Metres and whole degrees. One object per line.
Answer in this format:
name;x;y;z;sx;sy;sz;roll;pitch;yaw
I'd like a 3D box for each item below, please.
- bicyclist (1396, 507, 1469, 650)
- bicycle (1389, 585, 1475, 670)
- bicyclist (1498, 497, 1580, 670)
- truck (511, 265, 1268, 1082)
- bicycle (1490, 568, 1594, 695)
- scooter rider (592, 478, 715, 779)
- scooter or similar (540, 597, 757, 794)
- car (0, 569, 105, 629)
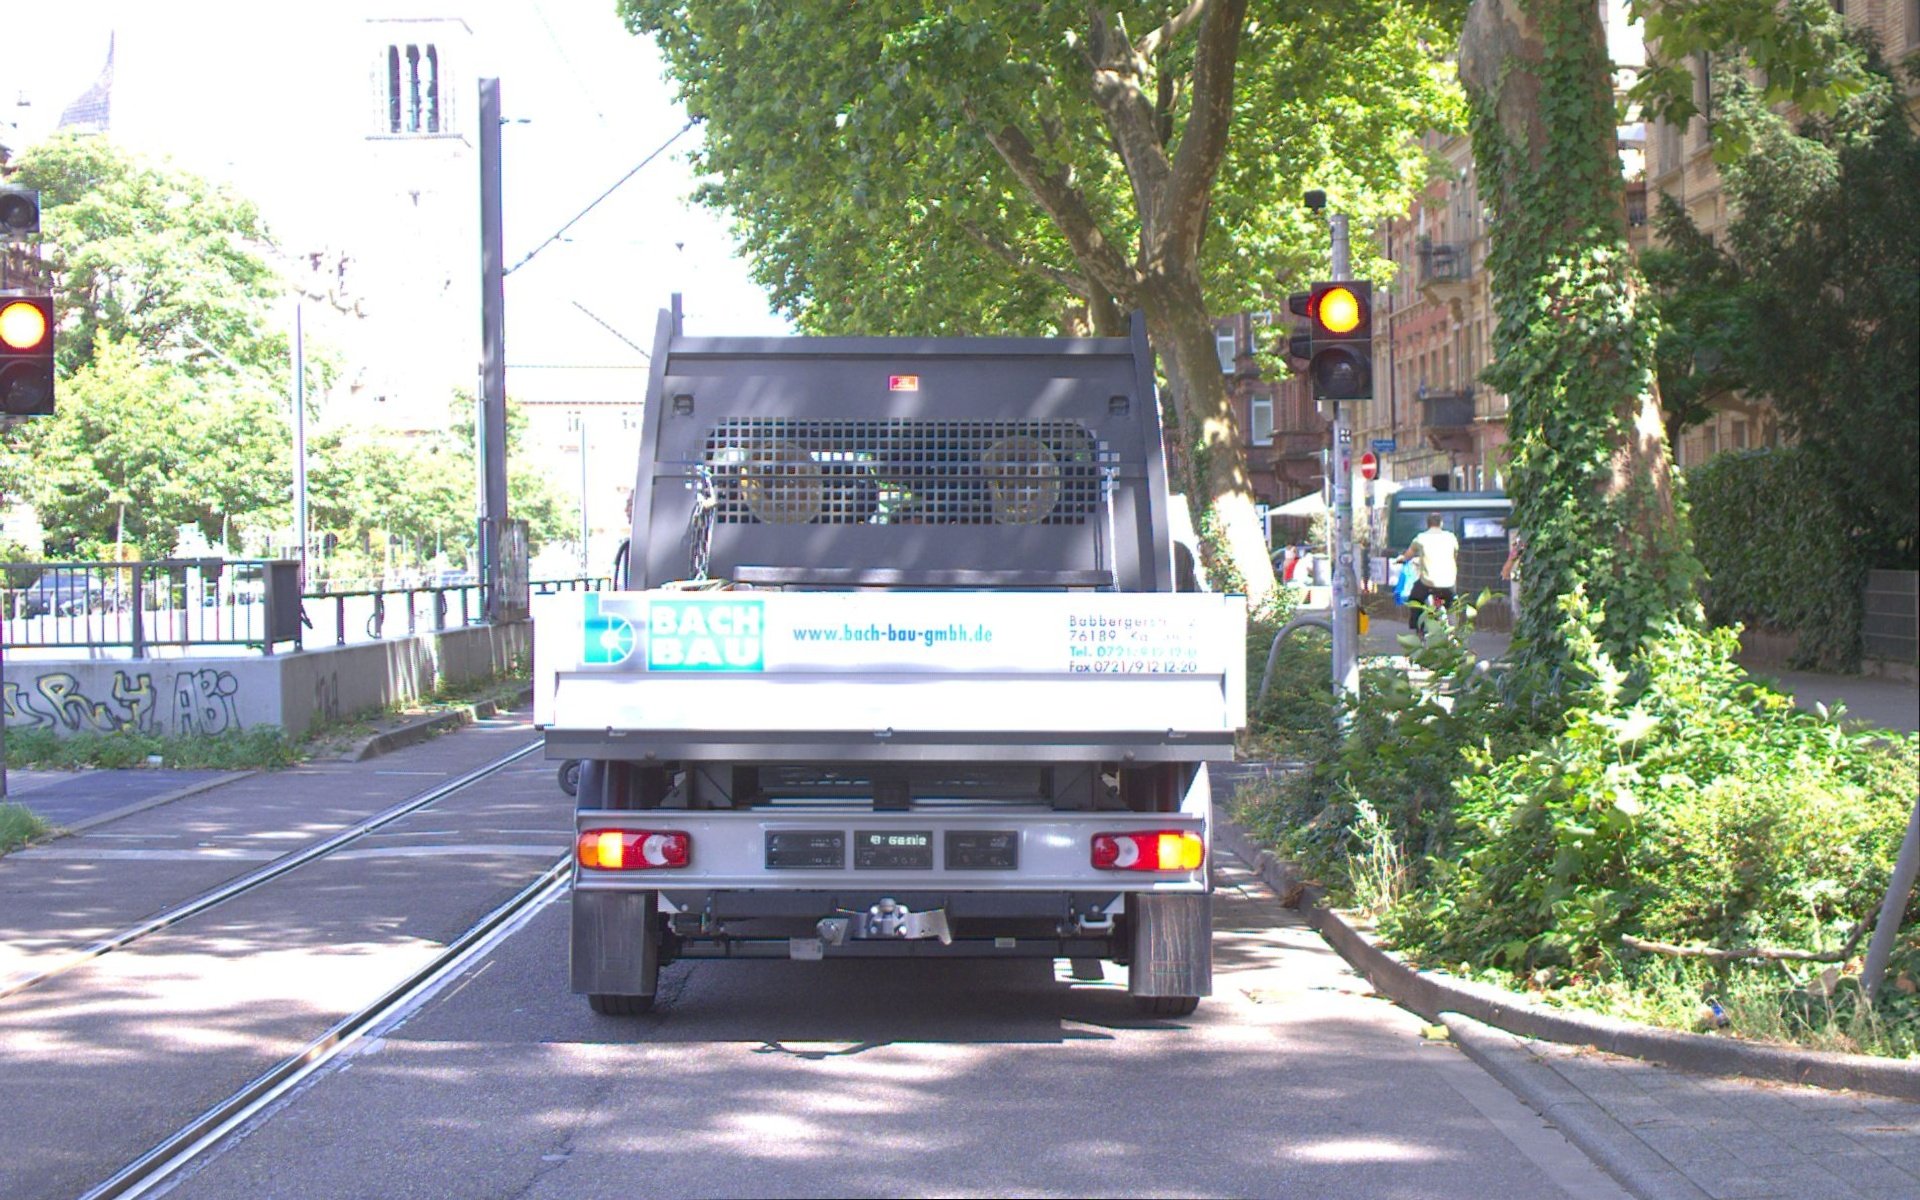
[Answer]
bicyclist;5.215;-0.242;37.980;0.680;1.558;0.777;-1;1;0
bicycle;5.218;0.291;38.108;0.675;0.878;2.163;-1;1;1
bicyclist;5.313;-0.155;31.574;0.638;1.568;0.579;-1;1;1
truck;-0.197;0.182;12.094;2.138;2.311;4.401;1;1;0
bicycle;5.319;0.268;31.523;0.565;1.108;2.310;-1;1;1
scooter rider;-1.930;0.174;21.697;0.667;1.860;0.664;-1;0;3
scooter or similar;-1.955;0.593;21.691;1.266;1.200;0.657;-1;1;3
car;-23.627;-0.054;89.616;1.770;1.493;4.000;-1;1;-2
